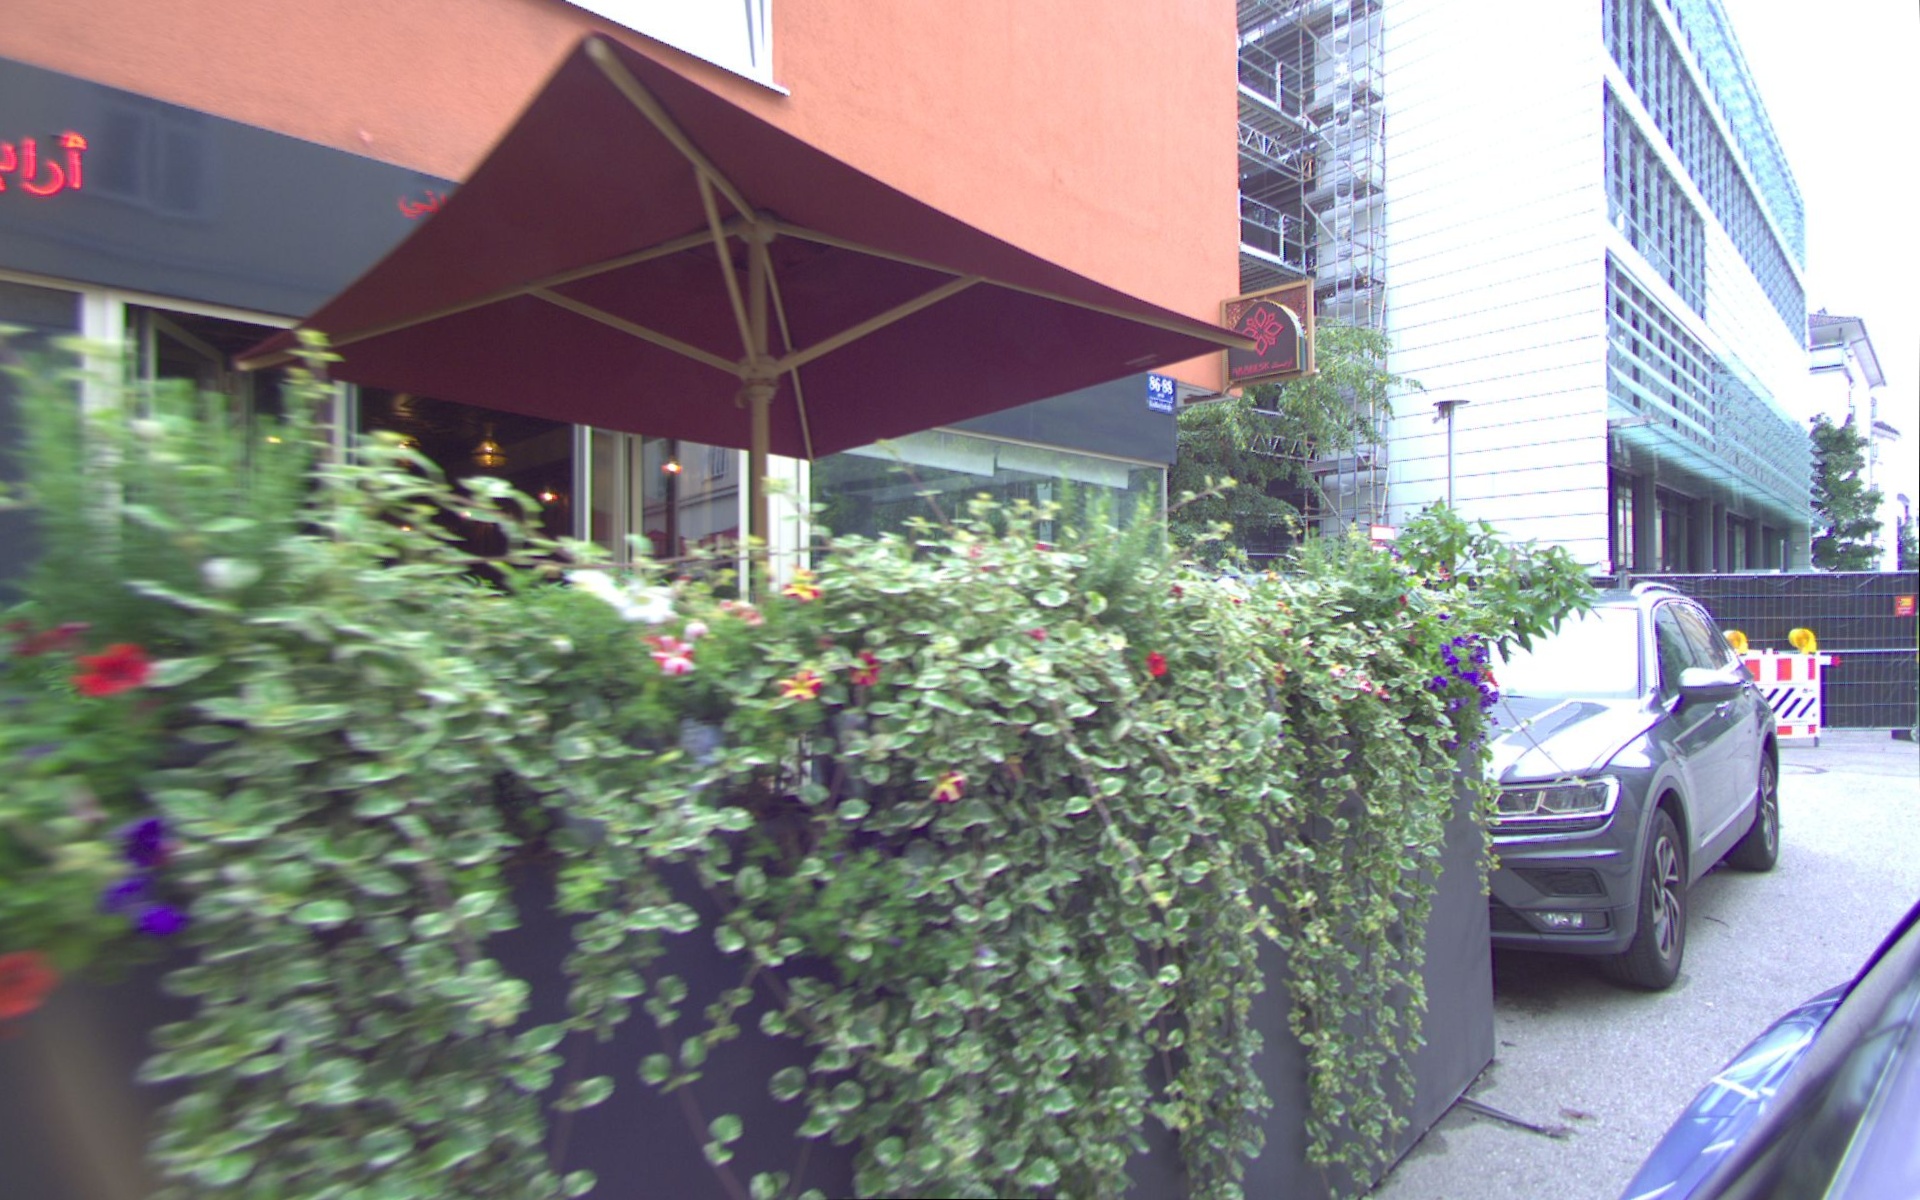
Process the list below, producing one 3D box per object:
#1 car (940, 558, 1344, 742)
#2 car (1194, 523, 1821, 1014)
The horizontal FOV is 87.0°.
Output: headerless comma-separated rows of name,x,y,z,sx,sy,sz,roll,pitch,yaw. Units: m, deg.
car,1.931,0.467,11.831,1.810,1.742,4.465,1,0,-44
car,3.345,0.617,5.739,4.315,1.732,1.825,0,-2,-43
